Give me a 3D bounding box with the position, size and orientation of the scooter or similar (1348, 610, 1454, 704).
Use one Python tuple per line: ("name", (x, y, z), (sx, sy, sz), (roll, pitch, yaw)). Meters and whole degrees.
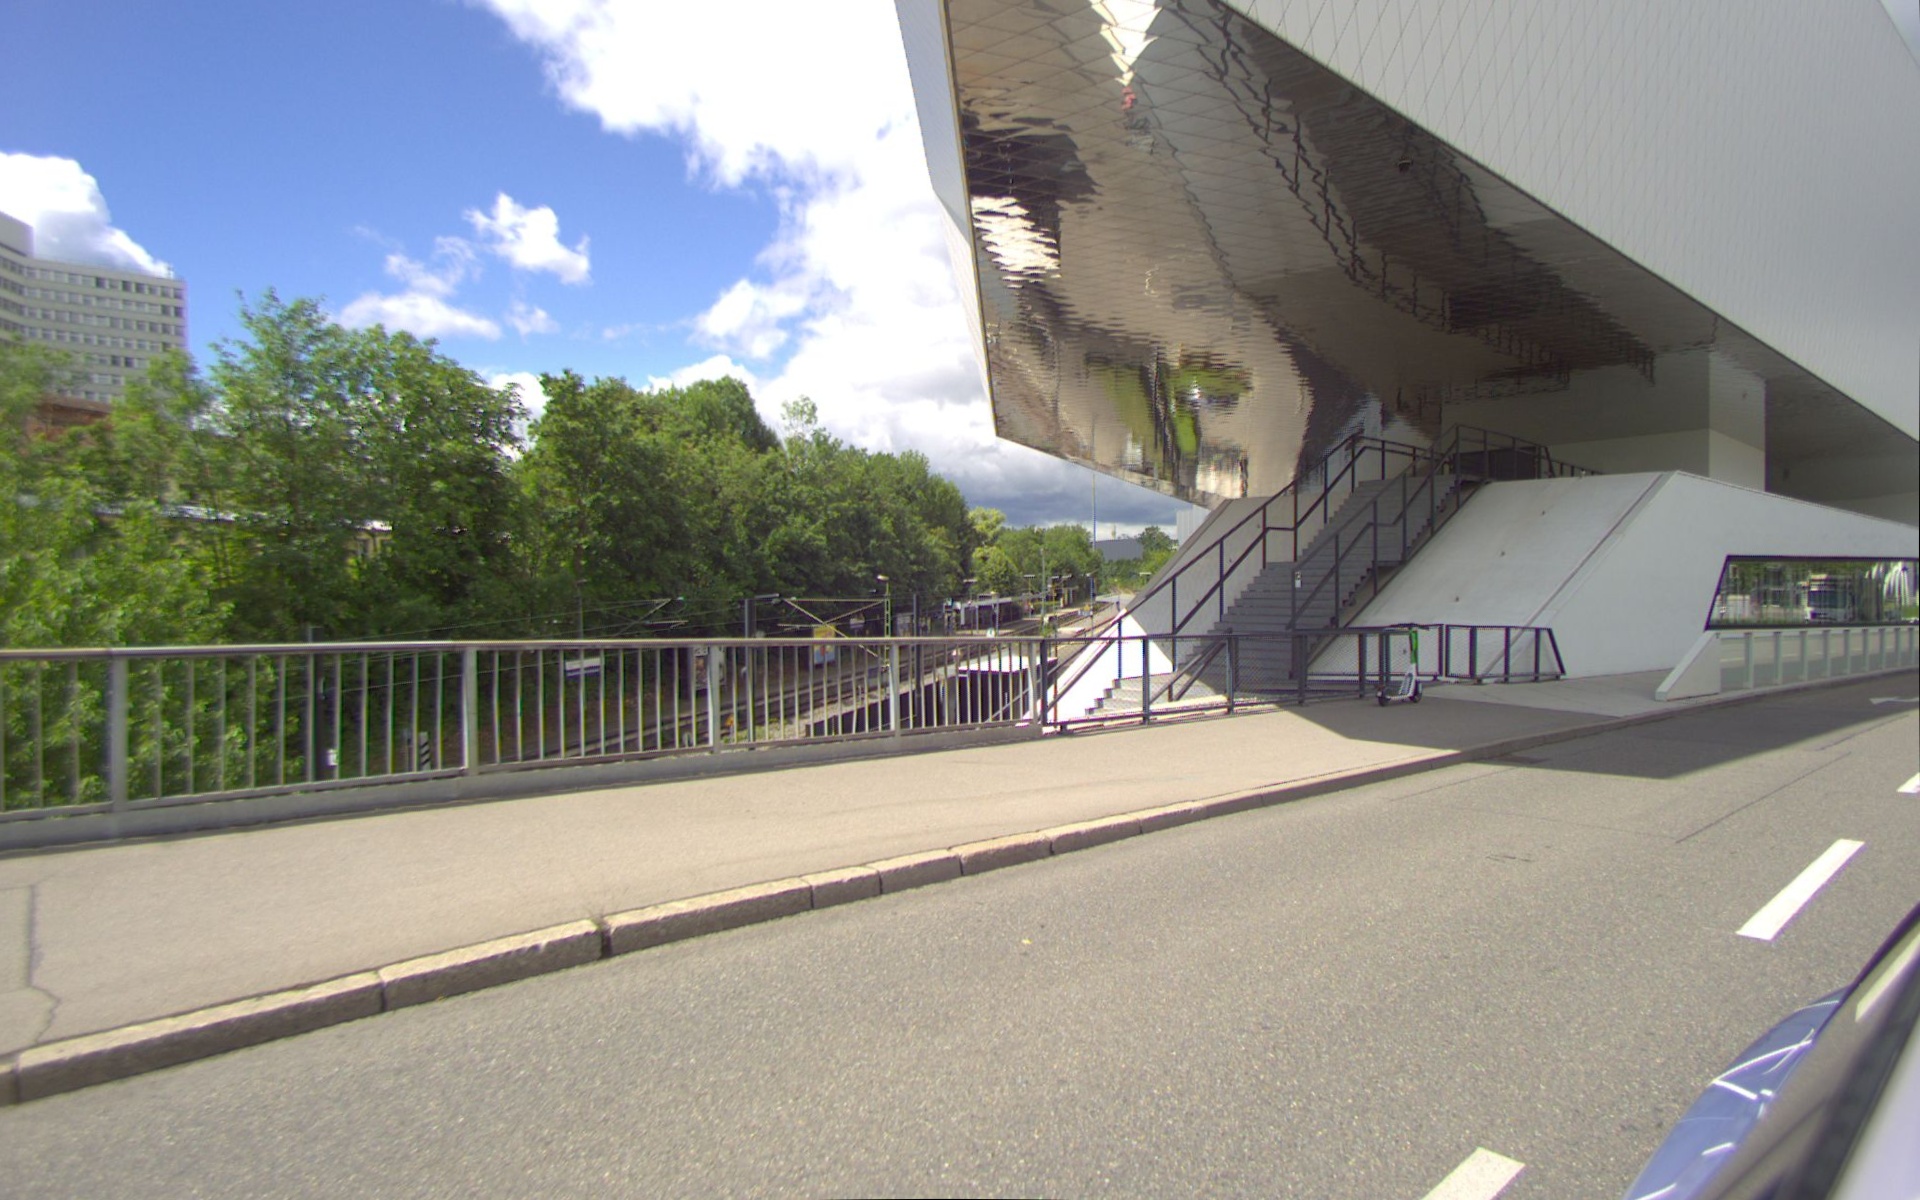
("scooter or similar", (6.287, 0.774, 14.396), (1.825, 1.229, 0.654), (0, 1, -41))
